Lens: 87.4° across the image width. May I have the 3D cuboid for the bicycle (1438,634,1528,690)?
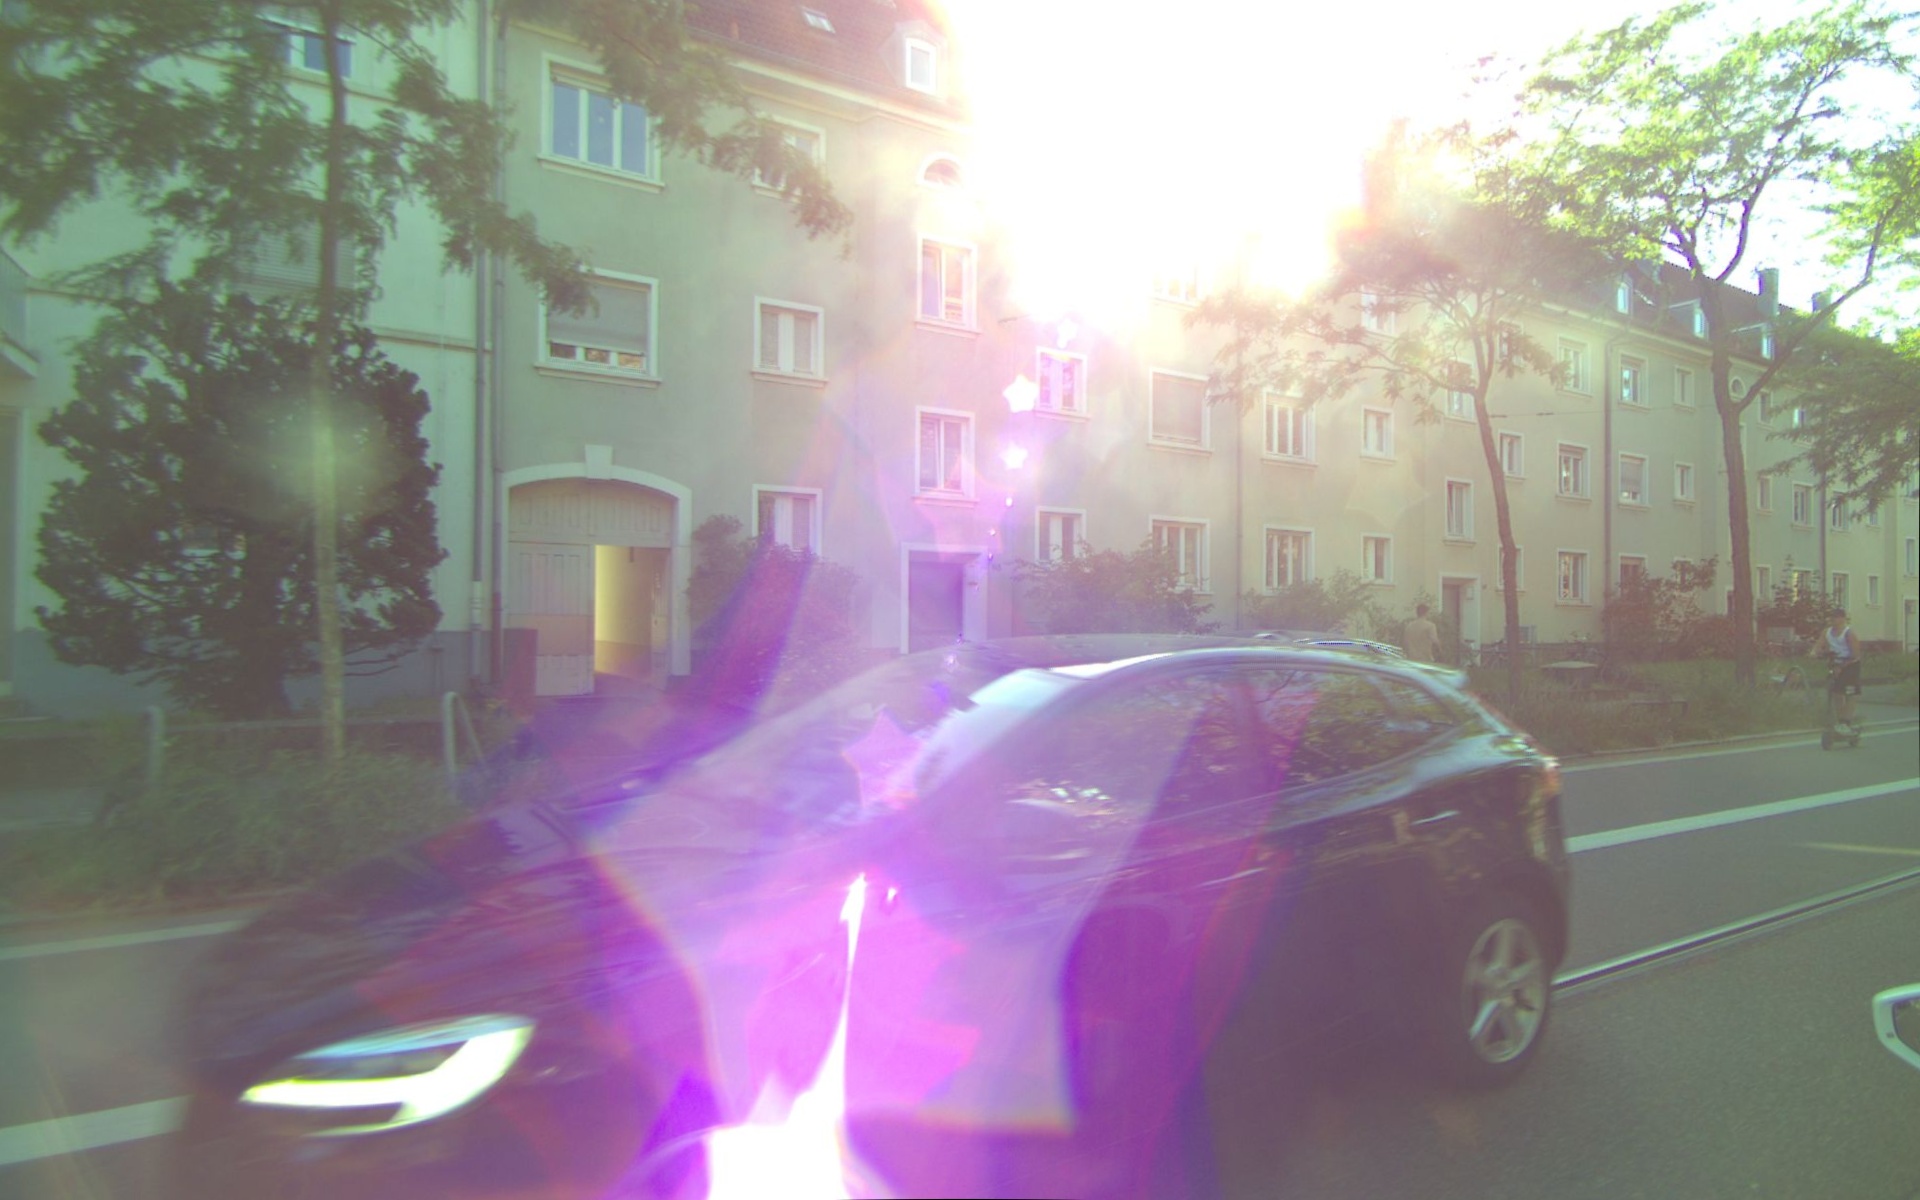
[{"bbox_3d":[12.461,1.463,23.984,0.516,1.193,1.896,1,1,-32],"label":"bicycle"}]

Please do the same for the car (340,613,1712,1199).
[{"bbox_3d":[0.537,0.805,3.417,4.473,1.458,1.748,1,-1,-32],"label":"car"}]

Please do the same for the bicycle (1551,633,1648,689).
[{"bbox_3d":[15.212,1.441,23.960,0.516,1.193,1.896,1,1,-32],"label":"bicycle"}]

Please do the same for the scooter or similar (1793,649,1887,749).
[{"bbox_3d":[12.143,1.345,13.853,1.361,1.314,0.518,1,-4,-31],"label":"scooter or similar"}]

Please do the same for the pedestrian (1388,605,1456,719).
[{"bbox_3d":[7.656,1.014,16.655,0.804,1.825,0.688,1,-1,-30],"label":"pedestrian"}]

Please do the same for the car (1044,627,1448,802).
[{"bbox_3d":[3.121,1.075,10.762,4.157,1.505,1.808,1,0,-31],"label":"car"}]

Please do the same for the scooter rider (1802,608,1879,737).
[{"bbox_3d":[12.151,0.995,13.867,0.777,1.721,0.494,1,-4,-30],"label":"scooter rider"}]
